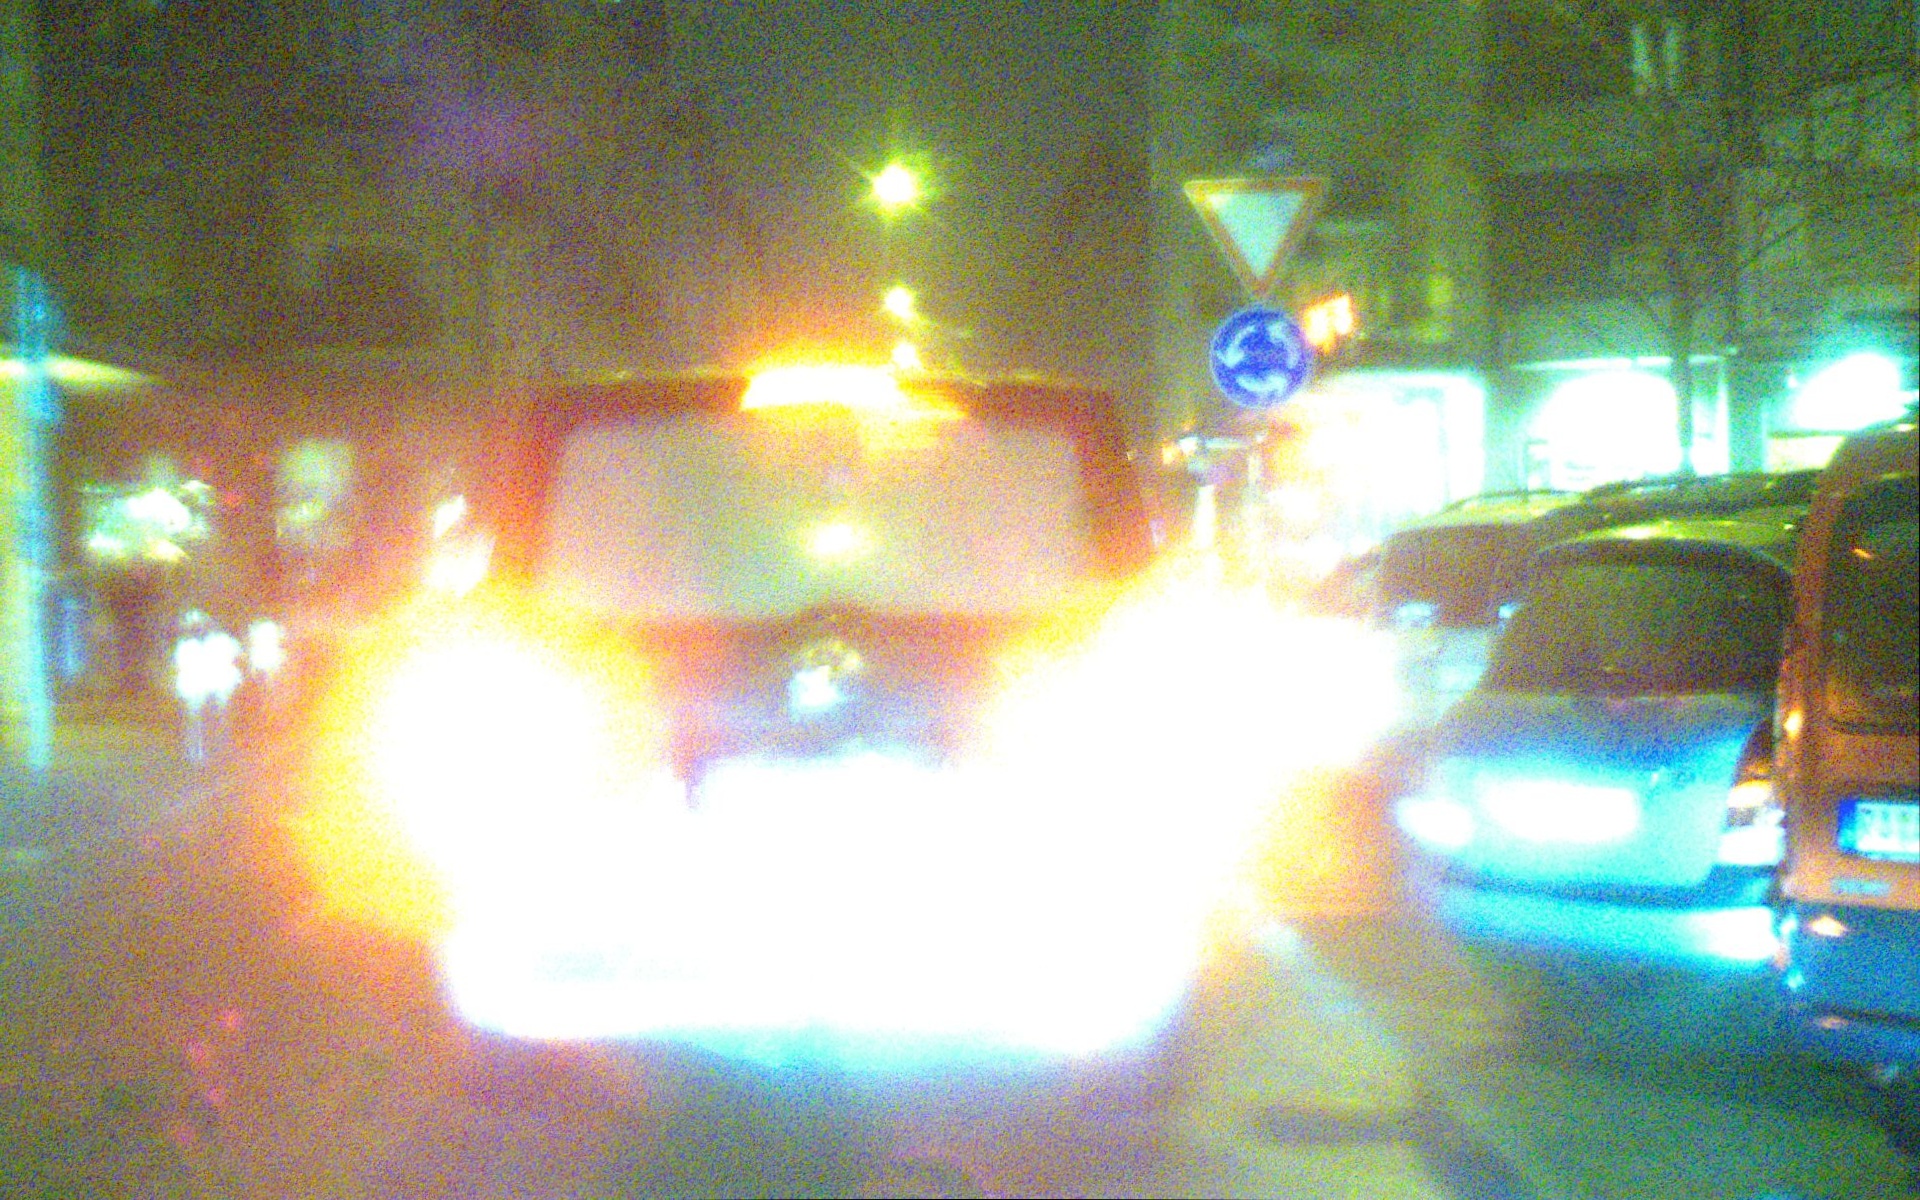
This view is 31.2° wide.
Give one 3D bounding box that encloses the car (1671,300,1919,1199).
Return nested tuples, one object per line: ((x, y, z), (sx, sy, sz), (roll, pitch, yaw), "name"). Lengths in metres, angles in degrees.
((3.533, 0.277, 8.114), (3.555, 1.984, 1.605), (-4, 1, -37), "car")

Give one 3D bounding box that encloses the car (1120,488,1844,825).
((3.059, 0.258, 19.841), (3.988, 1.755, 1.880), (-1, 1, -37), "car")

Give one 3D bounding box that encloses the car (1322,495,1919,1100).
((3.031, 0.462, 10.840), (3.555, 1.585, 1.605), (-4, 1, -37), "car")

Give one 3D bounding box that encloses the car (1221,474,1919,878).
((3.408, 0.297, 16.908), (3.988, 1.755, 1.880), (-1, 1, -37), "car")

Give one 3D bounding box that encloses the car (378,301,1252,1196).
((-0.357, 0.330, 9.900), (1.993, 2.043, 4.000), (0, 0, -1), "car")

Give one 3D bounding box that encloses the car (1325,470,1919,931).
((3.442, 0.347, 14.633), (3.559, 1.727, 1.689), (-1, 1, -37), "car")

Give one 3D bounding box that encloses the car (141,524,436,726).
((-5.889, 0.173, 30.605), (1.883, 1.679, 4.000), (0, 1, -1), "car")
